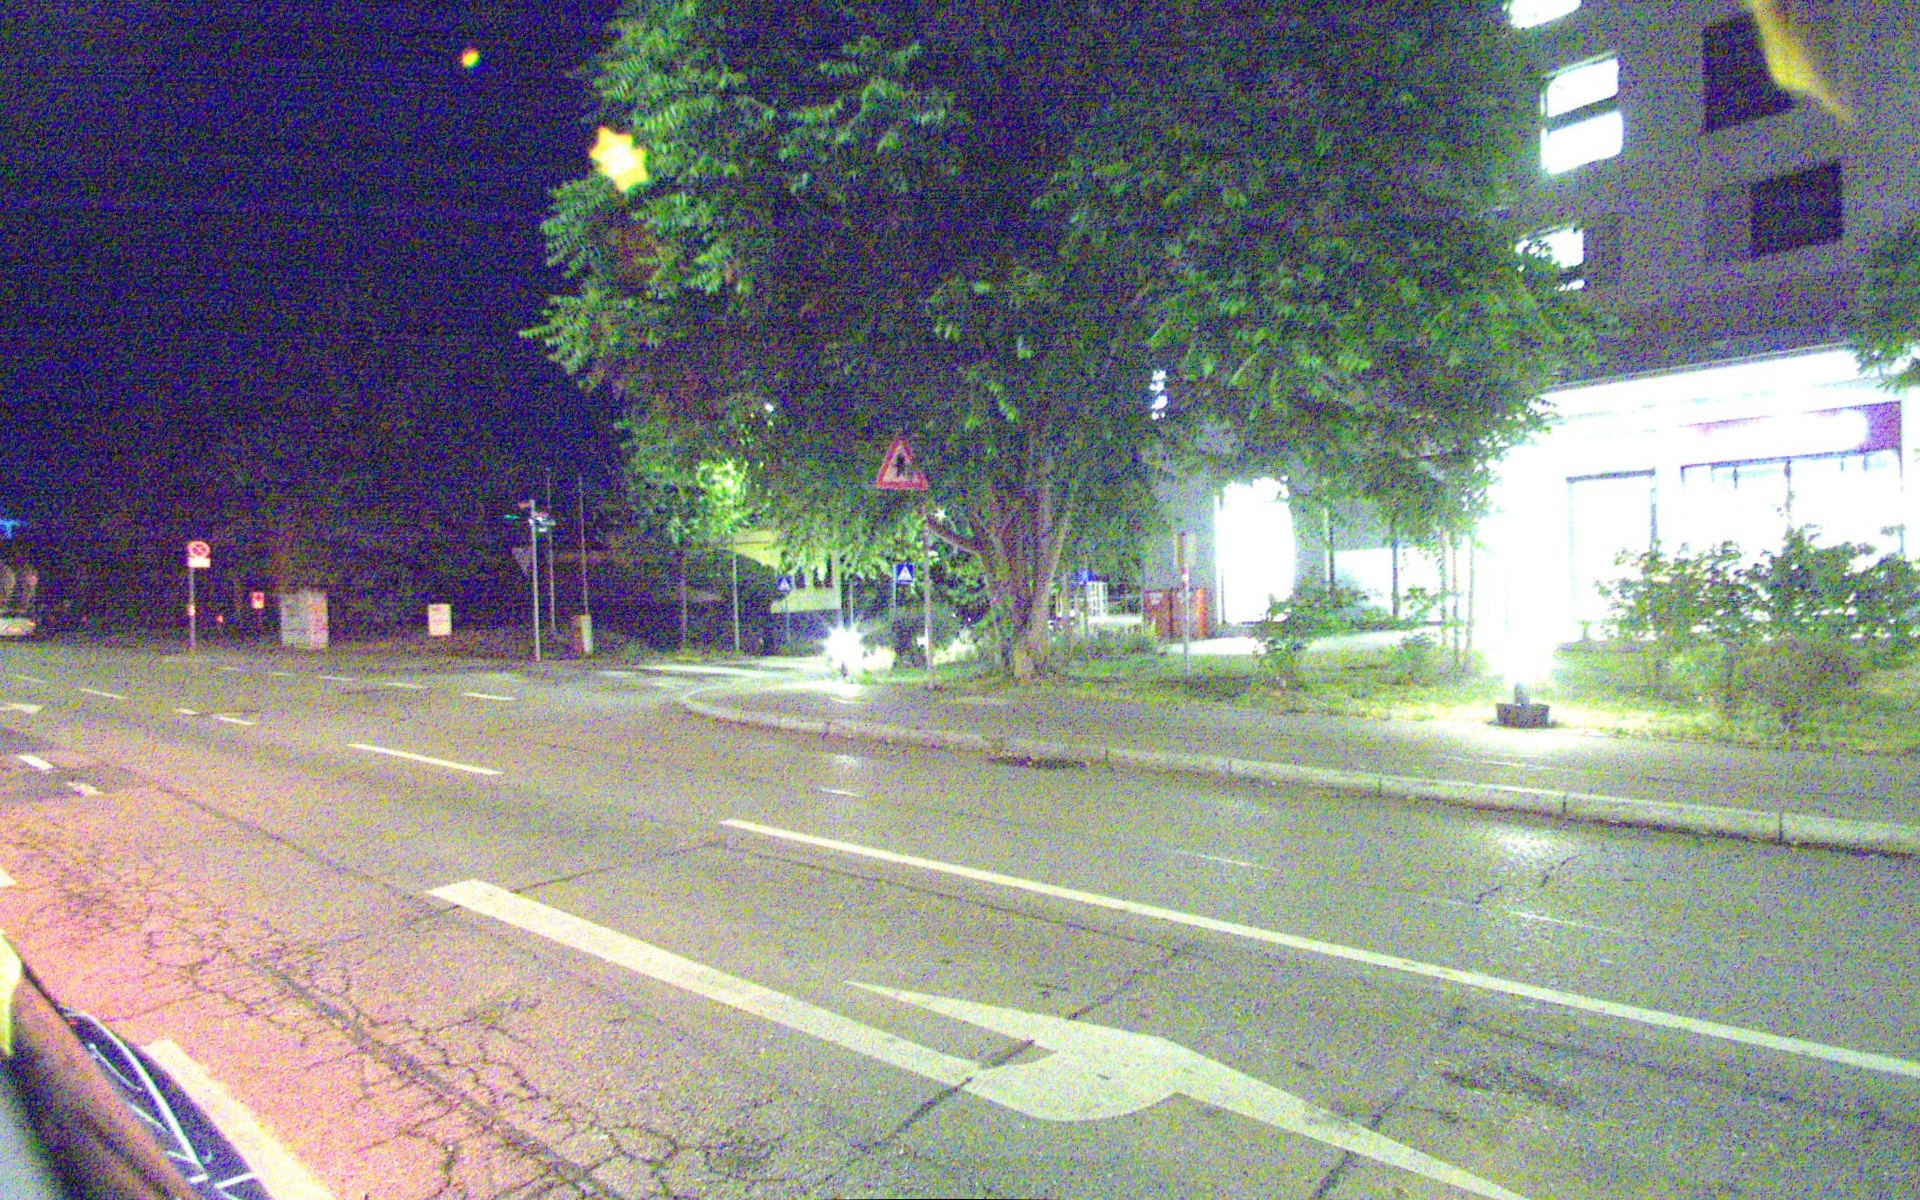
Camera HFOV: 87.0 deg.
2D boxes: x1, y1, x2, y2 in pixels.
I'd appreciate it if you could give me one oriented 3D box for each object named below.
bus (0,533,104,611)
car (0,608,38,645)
[{"bbox_3d":[-88.372,-2.468,98.115,14.776,6.990,6.056,-1,0,41],"label":"bus"},{"bbox_3d":[-43.163,1.185,45.619,3.995,1.604,1.784,-1,0,39],"label":"car"}]
